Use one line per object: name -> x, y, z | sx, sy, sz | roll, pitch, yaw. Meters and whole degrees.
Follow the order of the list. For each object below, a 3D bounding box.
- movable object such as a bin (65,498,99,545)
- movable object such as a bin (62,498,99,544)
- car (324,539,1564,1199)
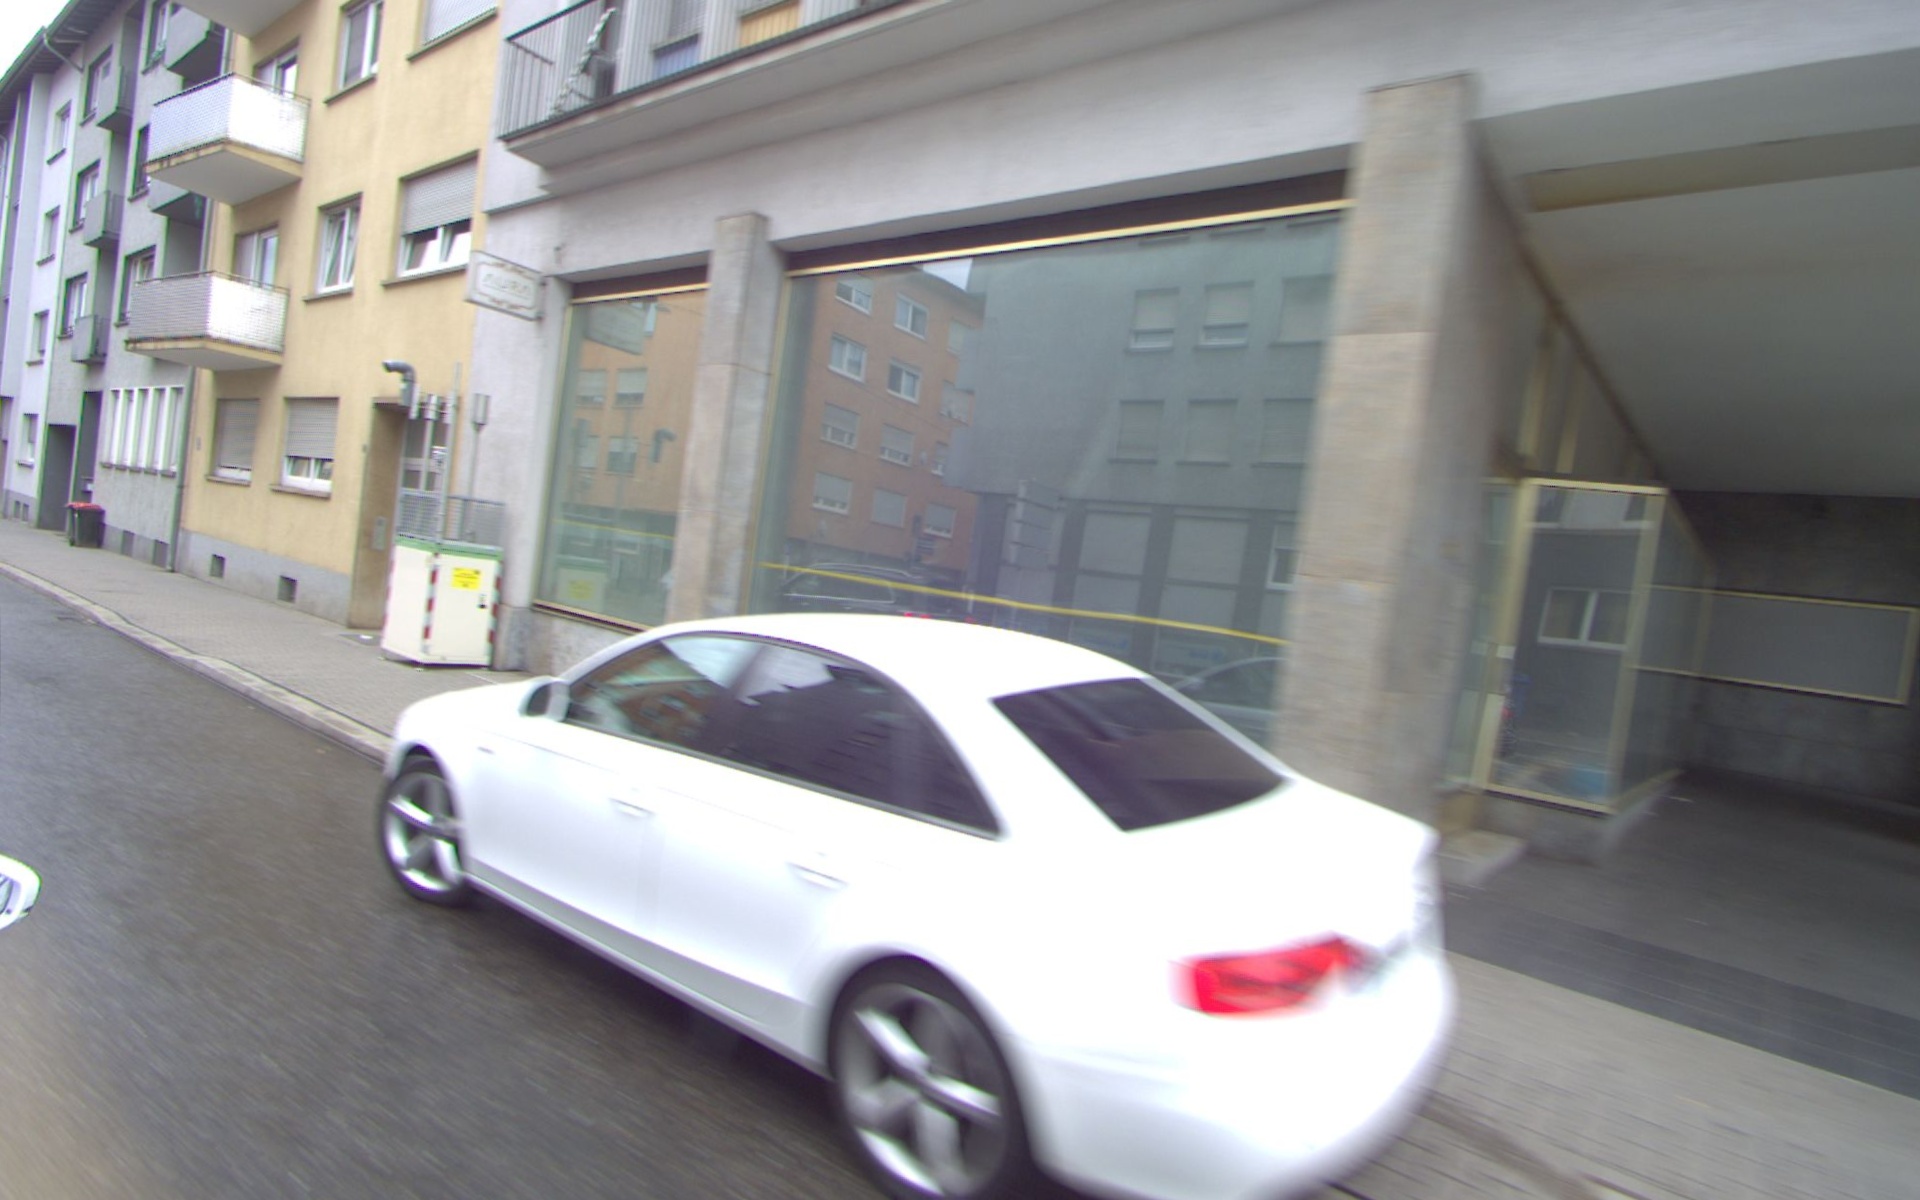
movable object such as a bin -> -19.538, -1.737, 22.384 | 0.556, 0.976, 0.471 | 9, 5, 40
movable object such as a bin -> -19.906, -1.780, 22.776 | 0.468, 0.976, 0.561 | 9, 5, 41
car -> -0.474, 0.685, 3.896 | 4.537, 1.423, 1.889 | 8, 6, 37
